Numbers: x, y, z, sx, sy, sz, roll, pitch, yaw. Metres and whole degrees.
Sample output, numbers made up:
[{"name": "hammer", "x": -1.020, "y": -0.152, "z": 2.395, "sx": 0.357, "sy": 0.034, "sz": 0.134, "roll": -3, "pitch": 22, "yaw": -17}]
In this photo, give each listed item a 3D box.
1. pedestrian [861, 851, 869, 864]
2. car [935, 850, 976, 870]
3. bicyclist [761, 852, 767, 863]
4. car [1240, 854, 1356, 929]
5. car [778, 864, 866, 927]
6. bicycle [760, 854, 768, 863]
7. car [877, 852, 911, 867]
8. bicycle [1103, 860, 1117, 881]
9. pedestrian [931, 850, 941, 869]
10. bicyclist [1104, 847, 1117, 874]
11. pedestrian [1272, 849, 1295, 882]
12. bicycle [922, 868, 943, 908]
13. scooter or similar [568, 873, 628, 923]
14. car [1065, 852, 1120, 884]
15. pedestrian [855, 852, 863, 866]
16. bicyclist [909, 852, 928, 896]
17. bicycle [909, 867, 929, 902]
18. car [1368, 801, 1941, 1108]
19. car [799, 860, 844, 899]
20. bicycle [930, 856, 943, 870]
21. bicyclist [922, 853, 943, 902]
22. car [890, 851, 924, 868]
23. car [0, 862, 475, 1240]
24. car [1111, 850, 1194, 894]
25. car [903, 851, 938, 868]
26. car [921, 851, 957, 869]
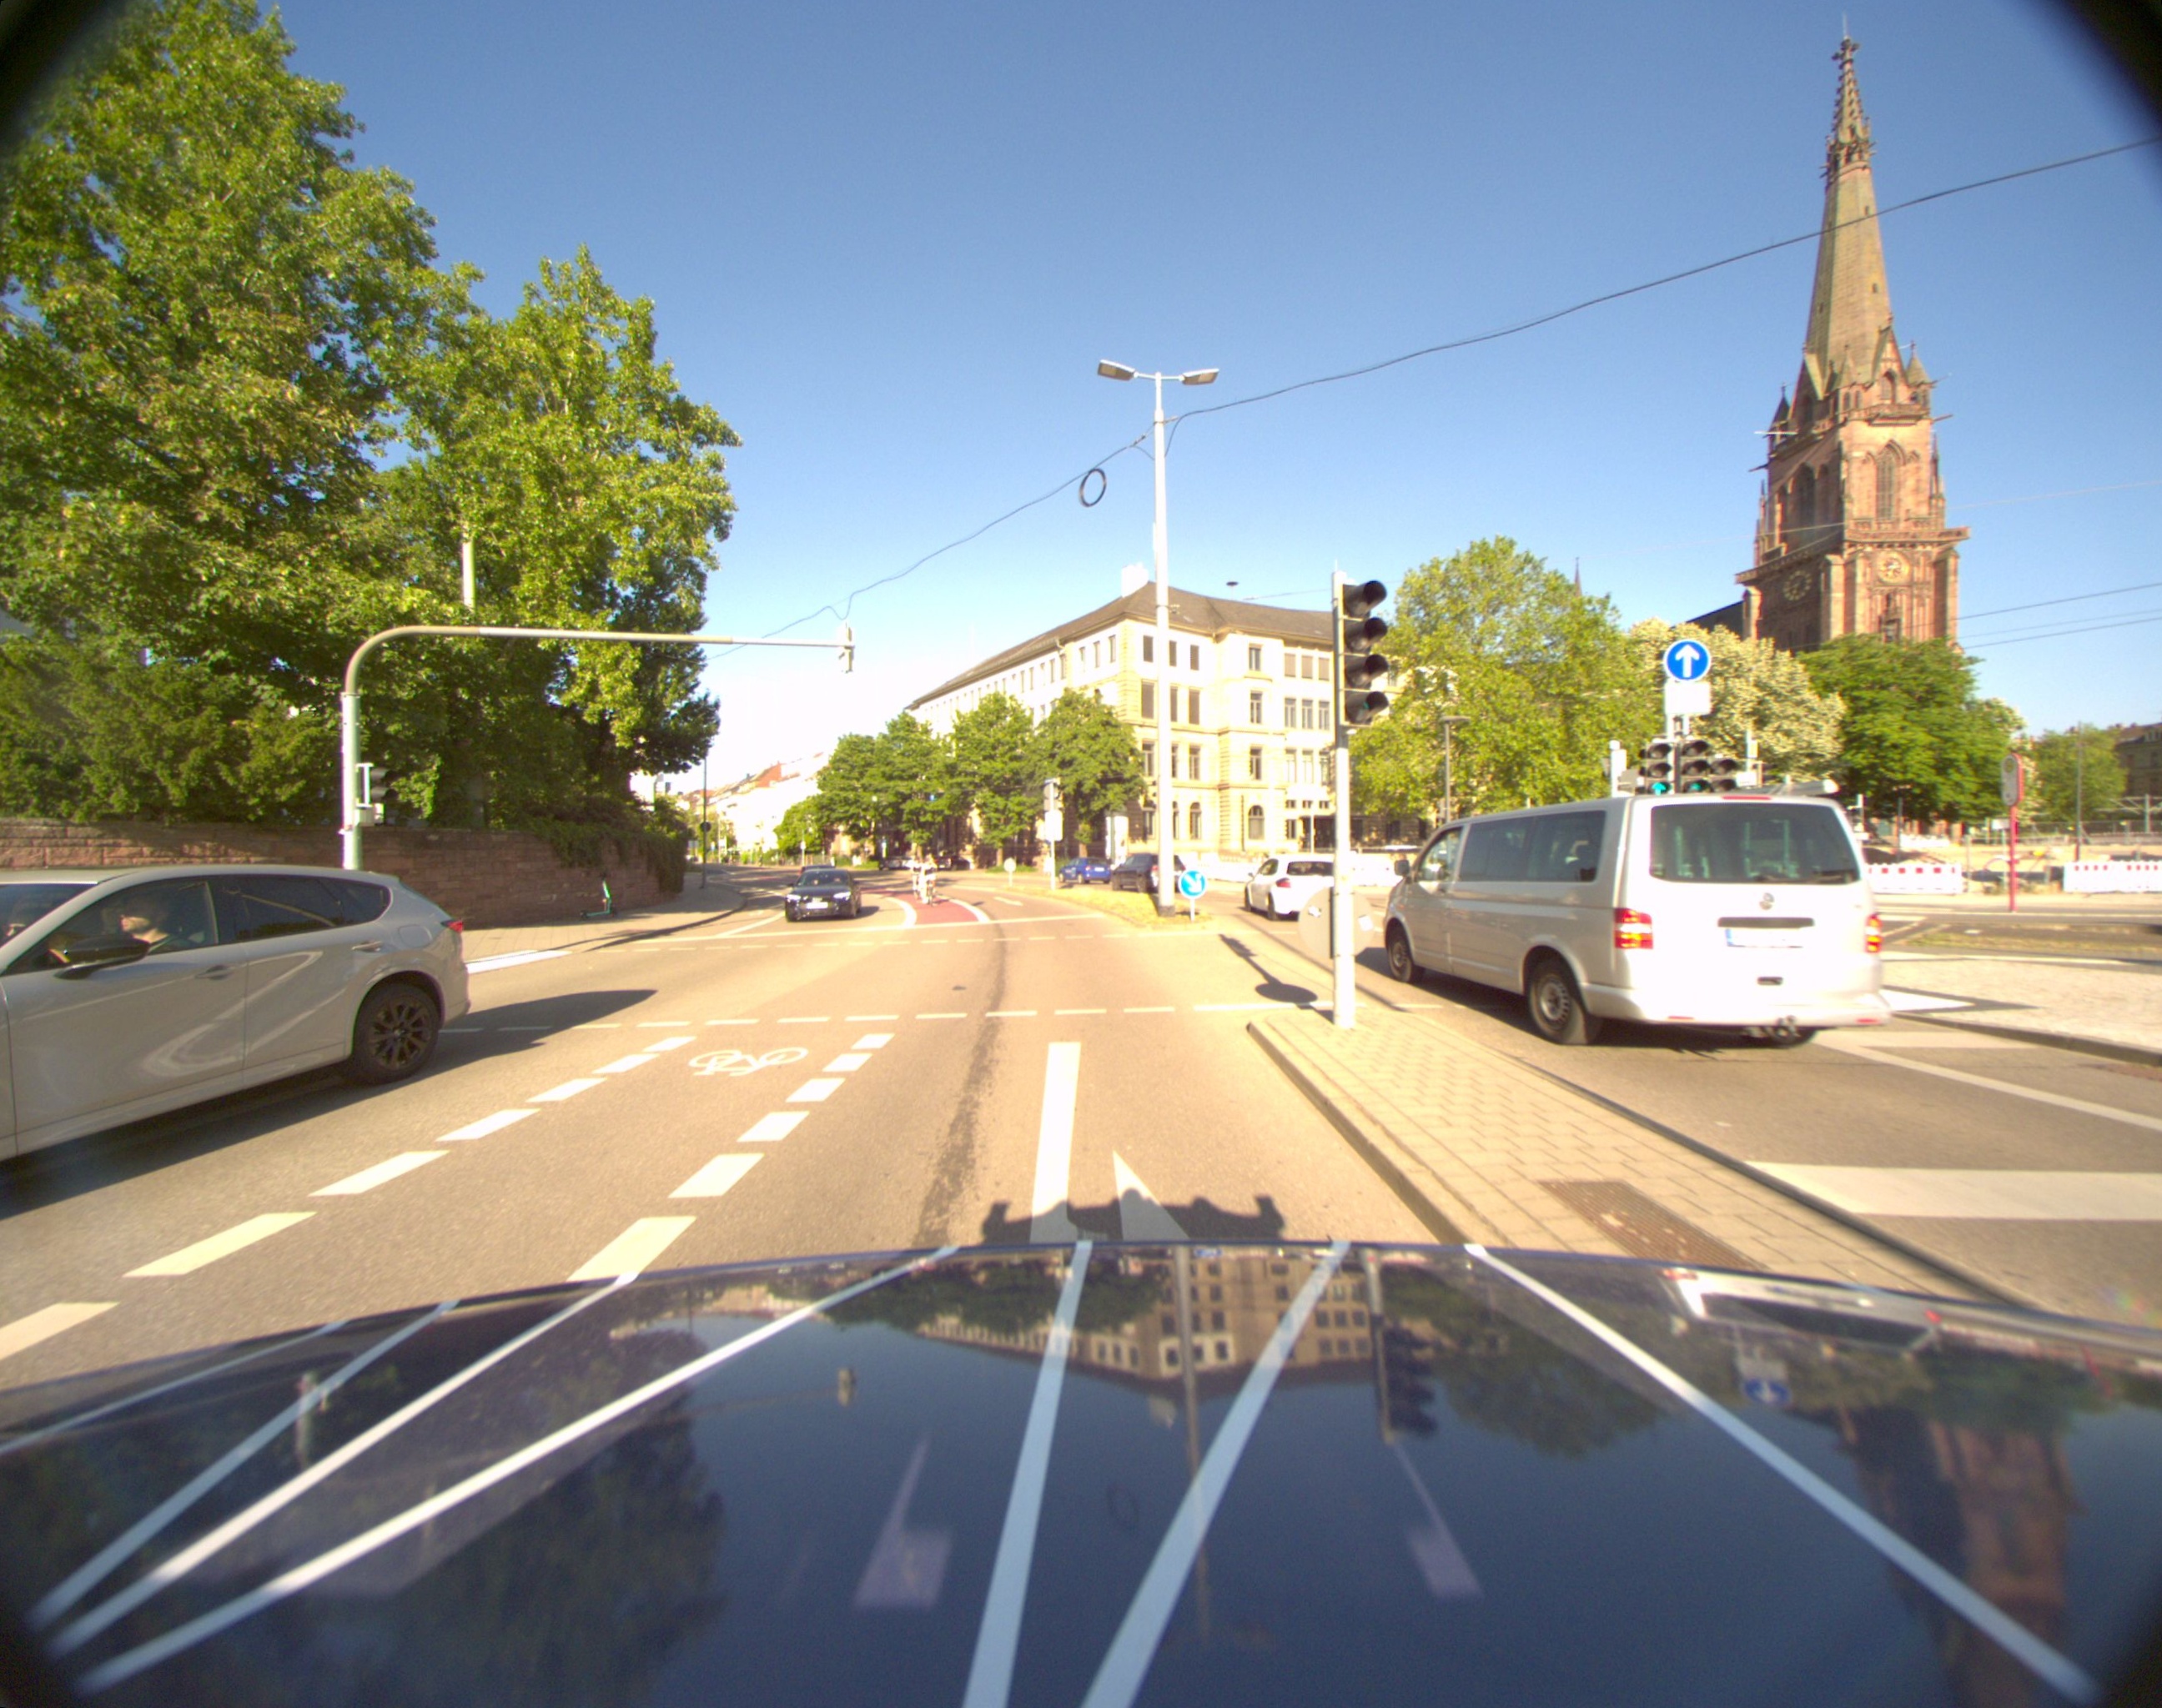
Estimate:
[{"name": "pedestrian", "x": -26.404, "y": 0.449, "z": 92.827, "sx": 0.677, "sy": 1.638, "sz": 0.815, "roll": -2, "pitch": 1, "yaw": -33}, {"name": "car", "x": -11.861, "y": 0.533, "z": 72.097, "sx": 1.842, "sy": 1.621, "sz": 4.187, "roll": -1, "pitch": 2, "yaw": 23}, {"name": "bicyclist", "x": -46.117, "y": 0.460, "z": 110.546, "sx": 0.677, "sy": 1.638, "sz": 1.026, "roll": -1, "pitch": 1, "yaw": -33}, {"name": "car", "x": 5.054, "y": 0.802, "z": 18.221, "sx": 1.699, "sy": 1.551, "sz": 3.980, "roll": 0, "pitch": 0, "yaw": 1}, {"name": "car", "x": -7.276, "y": 1.097, "z": 21.696, "sx": 1.790, "sy": 1.425, "sz": 3.995, "roll": -2, "pitch": 1, "yaw": -11}, {"name": "bicycle", "x": -46.142, "y": 0.653, "z": 110.581, "sx": 0.677, "sy": 1.243, "sz": 2.450, "roll": -1, "pitch": 1, "yaw": -33}, {"name": "car", "x": -20.512, "y": 0.583, "z": 83.539, "sx": 1.646, "sy": 1.552, "sz": 3.655, "roll": -1, "pitch": 2, "yaw": 23}, {"name": "bicycle", "x": 1.736, "y": 0.985, "z": 46.326, "sx": 0.676, "sy": 1.243, "sz": 2.456, "roll": 2, "pitch": 0, "yaw": -1}, {"name": "pedestrian", "x": -13.062, "y": 0.509, "z": 68.614, "sx": 0.676, "sy": 1.638, "sz": 0.816, "roll": -2, "pitch": 1, "yaw": -24}, {"name": "bicyclist", "x": 1.775, "y": 0.389, "z": 46.188, "sx": 0.710, "sy": 1.648, "sz": 0.901, "roll": 2, "pitch": 1, "yaw": -1}, {"name": "pedestrian", "x": 10.776, "y": 0.602, "z": 40.477, "sx": 0.898, "sy": 1.687, "sz": 0.712, "roll": 3, "pitch": 2, "yaw": 40}, {"name": "bicycle", "x": -5.094, "y": 1.136, "z": 25.975, "sx": 0.676, "sy": 1.243, "sz": 2.454, "roll": -1, "pitch": 0, "yaw": -12}, {"name": "scooter or similar", "x": -13.123, "y": 1.185, "z": 20.690, "sx": 0.575, "sy": 1.262, "sz": 1.425, "roll": 0, "pitch": 1, "yaw": 8}, {"name": "car", "x": 0.552, "y": 0.722, "z": 41.080, "sx": 1.744, "sy": 1.565, "sz": 3.917, "roll": 1, "pitch": 1, "yaw": -18}, {"name": "pedestrian", "x": -27.004, "y": 0.601, "z": 92.249, "sx": 0.677, "sy": 1.638, "sz": 0.815, "roll": -2, "pitch": 1, "yaw": -33}, {"name": "bicyclist", "x": -6.186, "y": 0.758, "z": 28.904, "sx": 0.676, "sy": 1.638, "sz": 1.028, "roll": -1, "pitch": 1, "yaw": -13}, {"name": "bicycle", "x": -6.203, "y": 1.130, "z": 28.987, "sx": 0.676, "sy": 1.243, "sz": 2.454, "roll": -1, "pitch": 0, "yaw": -13}, {"name": "car", "x": 4.550, "y": 0.631, "z": 7.219, "sx": 1.913, "sy": 1.934, "sz": 4.706, "roll": 1, "pitch": 0, "yaw": 1}, {"name": "car", "x": -11.829, "y": 1.110, "z": 34.552, "sx": 1.652, "sy": 1.552, "sz": 3.643, "roll": -3, "pitch": 2, "yaw": -22}, {"name": "bicycle", "x": -13.061, "y": 0.802, "z": 68.617, "sx": 0.677, "sy": 1.243, "sz": 2.452, "roll": -2, "pitch": 1, "yaw": -23}, {"name": "bicyclist", "x": -5.093, "y": 0.788, "z": 25.964, "sx": 0.676, "sy": 1.638, "sz": 1.028, "roll": -1, "pitch": 1, "yaw": -12}, {"name": "car", "x": -18.489, "y": 0.589, "z": 80.718, "sx": 1.646, "sy": 1.552, "sz": 3.655, "roll": -1, "pitch": 2, "yaw": 23}, {"name": "car", "x": -6.096, "y": 0.993, "z": 4.149, "sx": 1.945, "sy": 1.683, "sz": 4.529, "roll": -2, "pitch": 1, "yaw": -2}, {"name": "car", "x": 2.891, "y": 0.705, "z": 31.829, "sx": 1.769, "sy": 1.696, "sz": 4.522, "roll": 1, "pitch": 0, "yaw": -18}, {"name": "car", "x": -16.676, "y": 0.570, "z": 79.094, "sx": 1.646, "sy": 1.552, "sz": 3.655, "roll": -1, "pitch": 2, "yaw": 23}, {"name": "car", "x": -13.838, "y": 0.536, "z": 74.117, "sx": 1.646, "sy": 1.552, "sz": 3.655, "roll": -1, "pitch": 2, "yaw": 23}]
